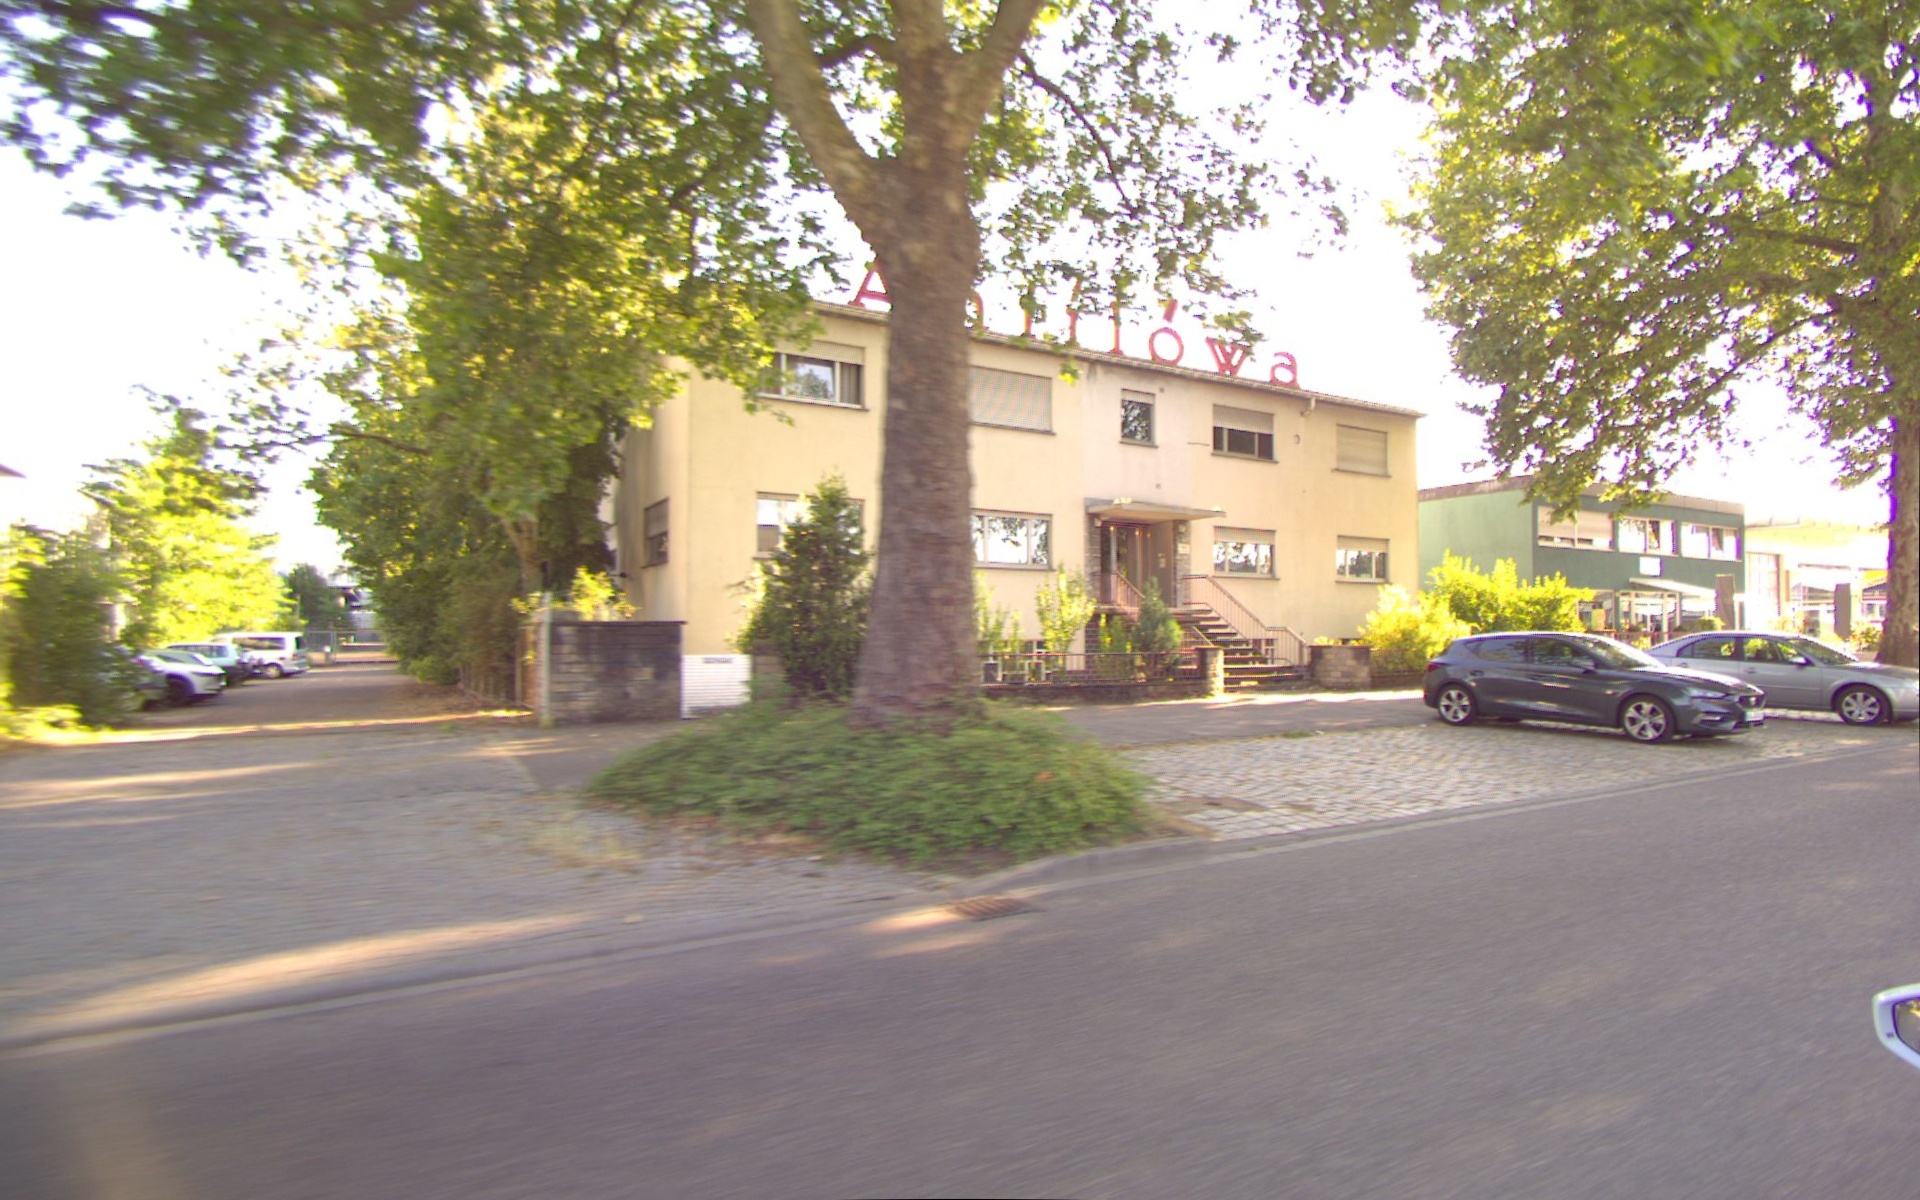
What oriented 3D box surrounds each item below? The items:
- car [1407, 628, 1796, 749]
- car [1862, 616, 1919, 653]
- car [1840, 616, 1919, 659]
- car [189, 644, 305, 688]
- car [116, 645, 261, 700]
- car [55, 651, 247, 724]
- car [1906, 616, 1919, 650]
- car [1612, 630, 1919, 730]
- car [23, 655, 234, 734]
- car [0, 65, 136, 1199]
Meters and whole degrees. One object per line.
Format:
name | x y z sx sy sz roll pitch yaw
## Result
car | 9.044 1.144 14.555 1.978 1.441 4.330 0 -2 -32
car | 44.727 1.582 46.067 1.977 1.655 4.689 1 -1 -31
car | 42.364 1.651 44.537 1.977 1.843 4.721 1 -1 -31
car | -30.784 2.816 43.543 3.957 1.773 1.982 1 -1 -33
car | -27.673 2.555 36.205 3.957 1.773 1.982 1 -1 -33
car | -22.404 2.367 28.049 3.957 1.773 1.982 1 -1 -33
car | 48.924 1.635 48.285 1.977 1.664 4.694 1 -1 -31
car | 14.081 1.256 17.119 1.976 1.441 4.579 0 -1 -30
car | -21.351 2.365 26.042 3.957 1.773 1.982 1 -1 -33
car | -4.908 0.308 0.304 6.919 2.694 2.118 0 -2 -31
